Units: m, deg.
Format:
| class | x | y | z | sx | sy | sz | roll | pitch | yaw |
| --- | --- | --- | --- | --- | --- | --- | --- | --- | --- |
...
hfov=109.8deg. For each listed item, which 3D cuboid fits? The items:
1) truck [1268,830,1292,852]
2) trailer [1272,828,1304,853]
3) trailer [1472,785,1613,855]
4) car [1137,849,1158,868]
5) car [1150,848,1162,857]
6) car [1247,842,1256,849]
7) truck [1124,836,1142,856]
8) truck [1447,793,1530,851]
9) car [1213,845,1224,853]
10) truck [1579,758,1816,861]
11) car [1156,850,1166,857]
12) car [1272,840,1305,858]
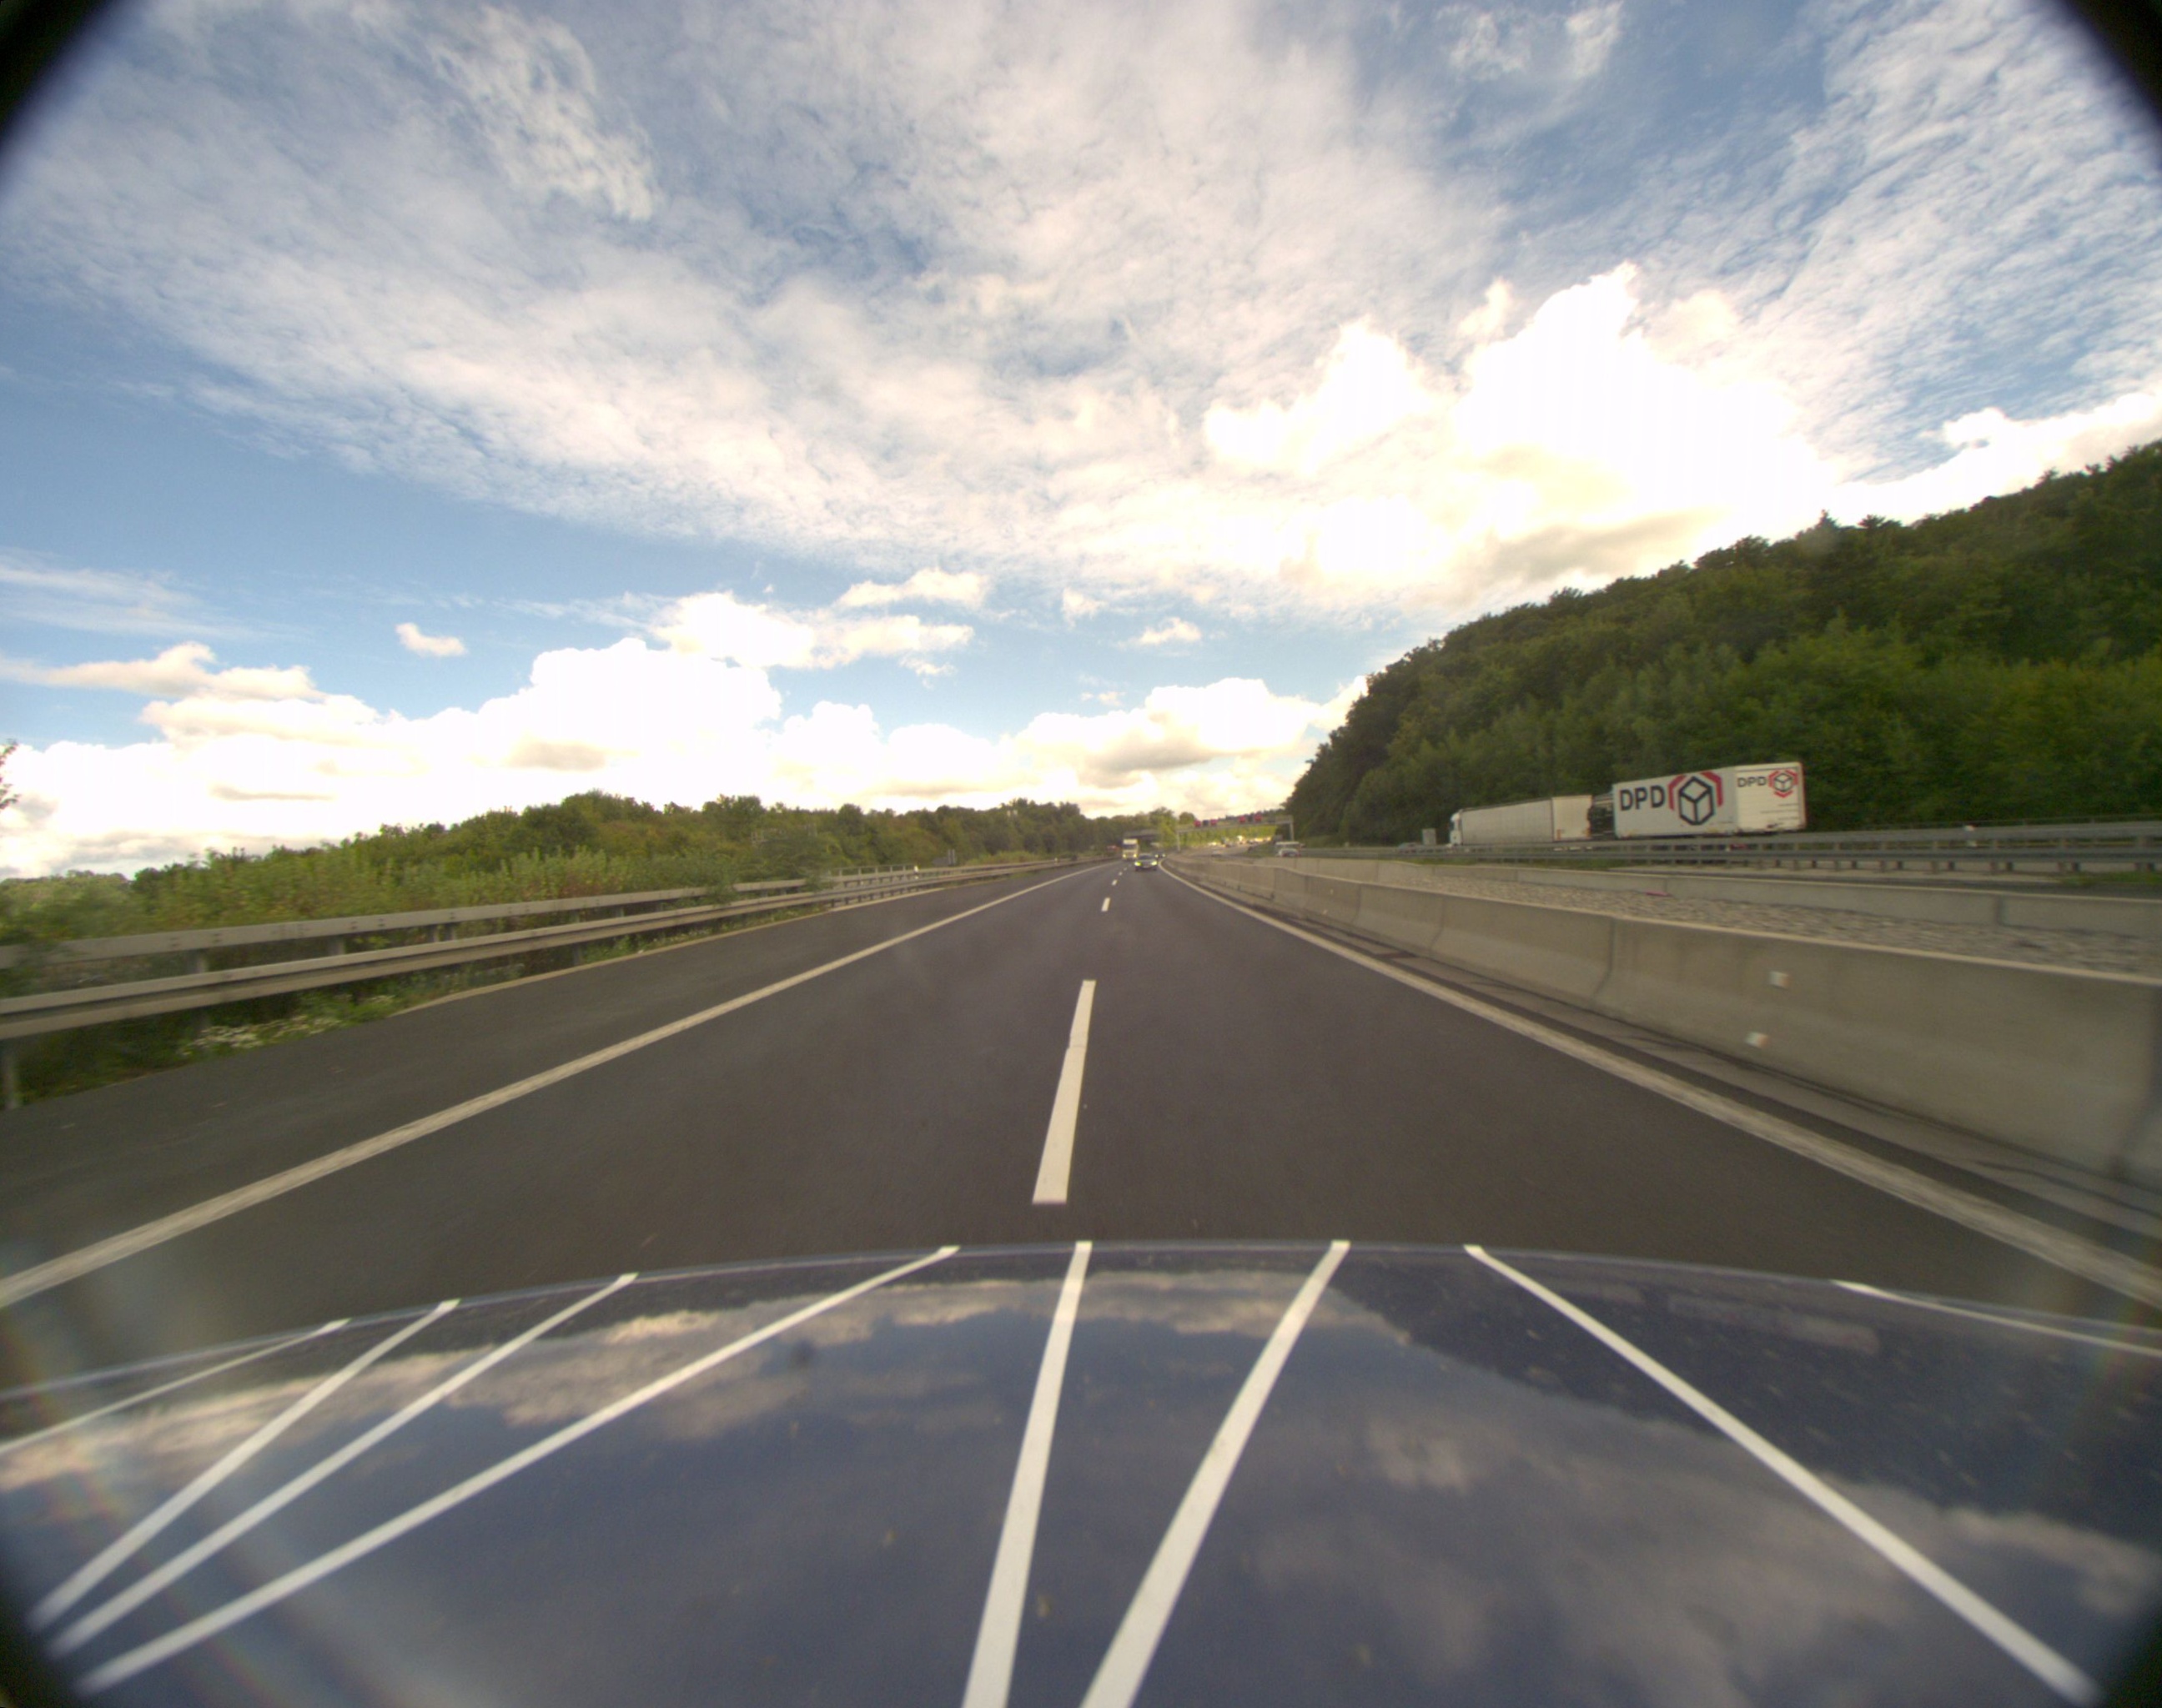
| class | x | y | z | sx | sy | sz | roll | pitch | yaw |
| --- | --- | --- | --- | --- | --- | --- | --- | --- | --- |
| truck | 35.349 | -2.300 | 135.066 | 2.815 | 3.804 | 7.131 | -3 | 1 | 5 |
| trailer | 34.729 | -2.209 | 127.968 | 2.819 | 3.785 | 12.191 | -3 | 0 | 5 |
| trailer | 32.200 | -2.329 | 53.951 | 3.328 | 4.268 | 12.140 | -2 | 2 | 4 |
| car | 5.762 | 0.335 | 65.633 | 1.662 | 1.464 | 4.001 | -3 | 1 | 7 |
| car | 13.372 | -0.297 | 135.128 | 1.997 | 1.464 | 4.002 | -3 | 0 | 6 |
| car | 48.618 | -2.491 | 217.162 | 1.997 | 2.002 | 4.002 | -3 | 1 | 7 |
| truck | 9.887 | -1.602 | 144.213 | 2.795 | 3.563 | 11.460 | -2 | 2 | 6 |
| truck | 32.706 | -2.535 | 61.315 | 3.328 | 4.268 | 6.748 | -2 | 2 | 4 |
| car | 28.988 | -1.129 | 160.420 | 1.716 | 1.519 | 4.767 | -2 | 2 | 5 |
| truck | 27.877 | -1.902 | 35.341 | 2.908 | 3.946 | 10.463 | -2 | 2 | 3 |
| car | 17.745 | -0.106 | 168.981 | 1.997 | 1.464 | 4.002 | -3 | 0 | 7 |
| car | 19.010 | -0.508 | 69.780 | 1.879 | 1.439 | 5.122 | -2 | 2 | 4 |
